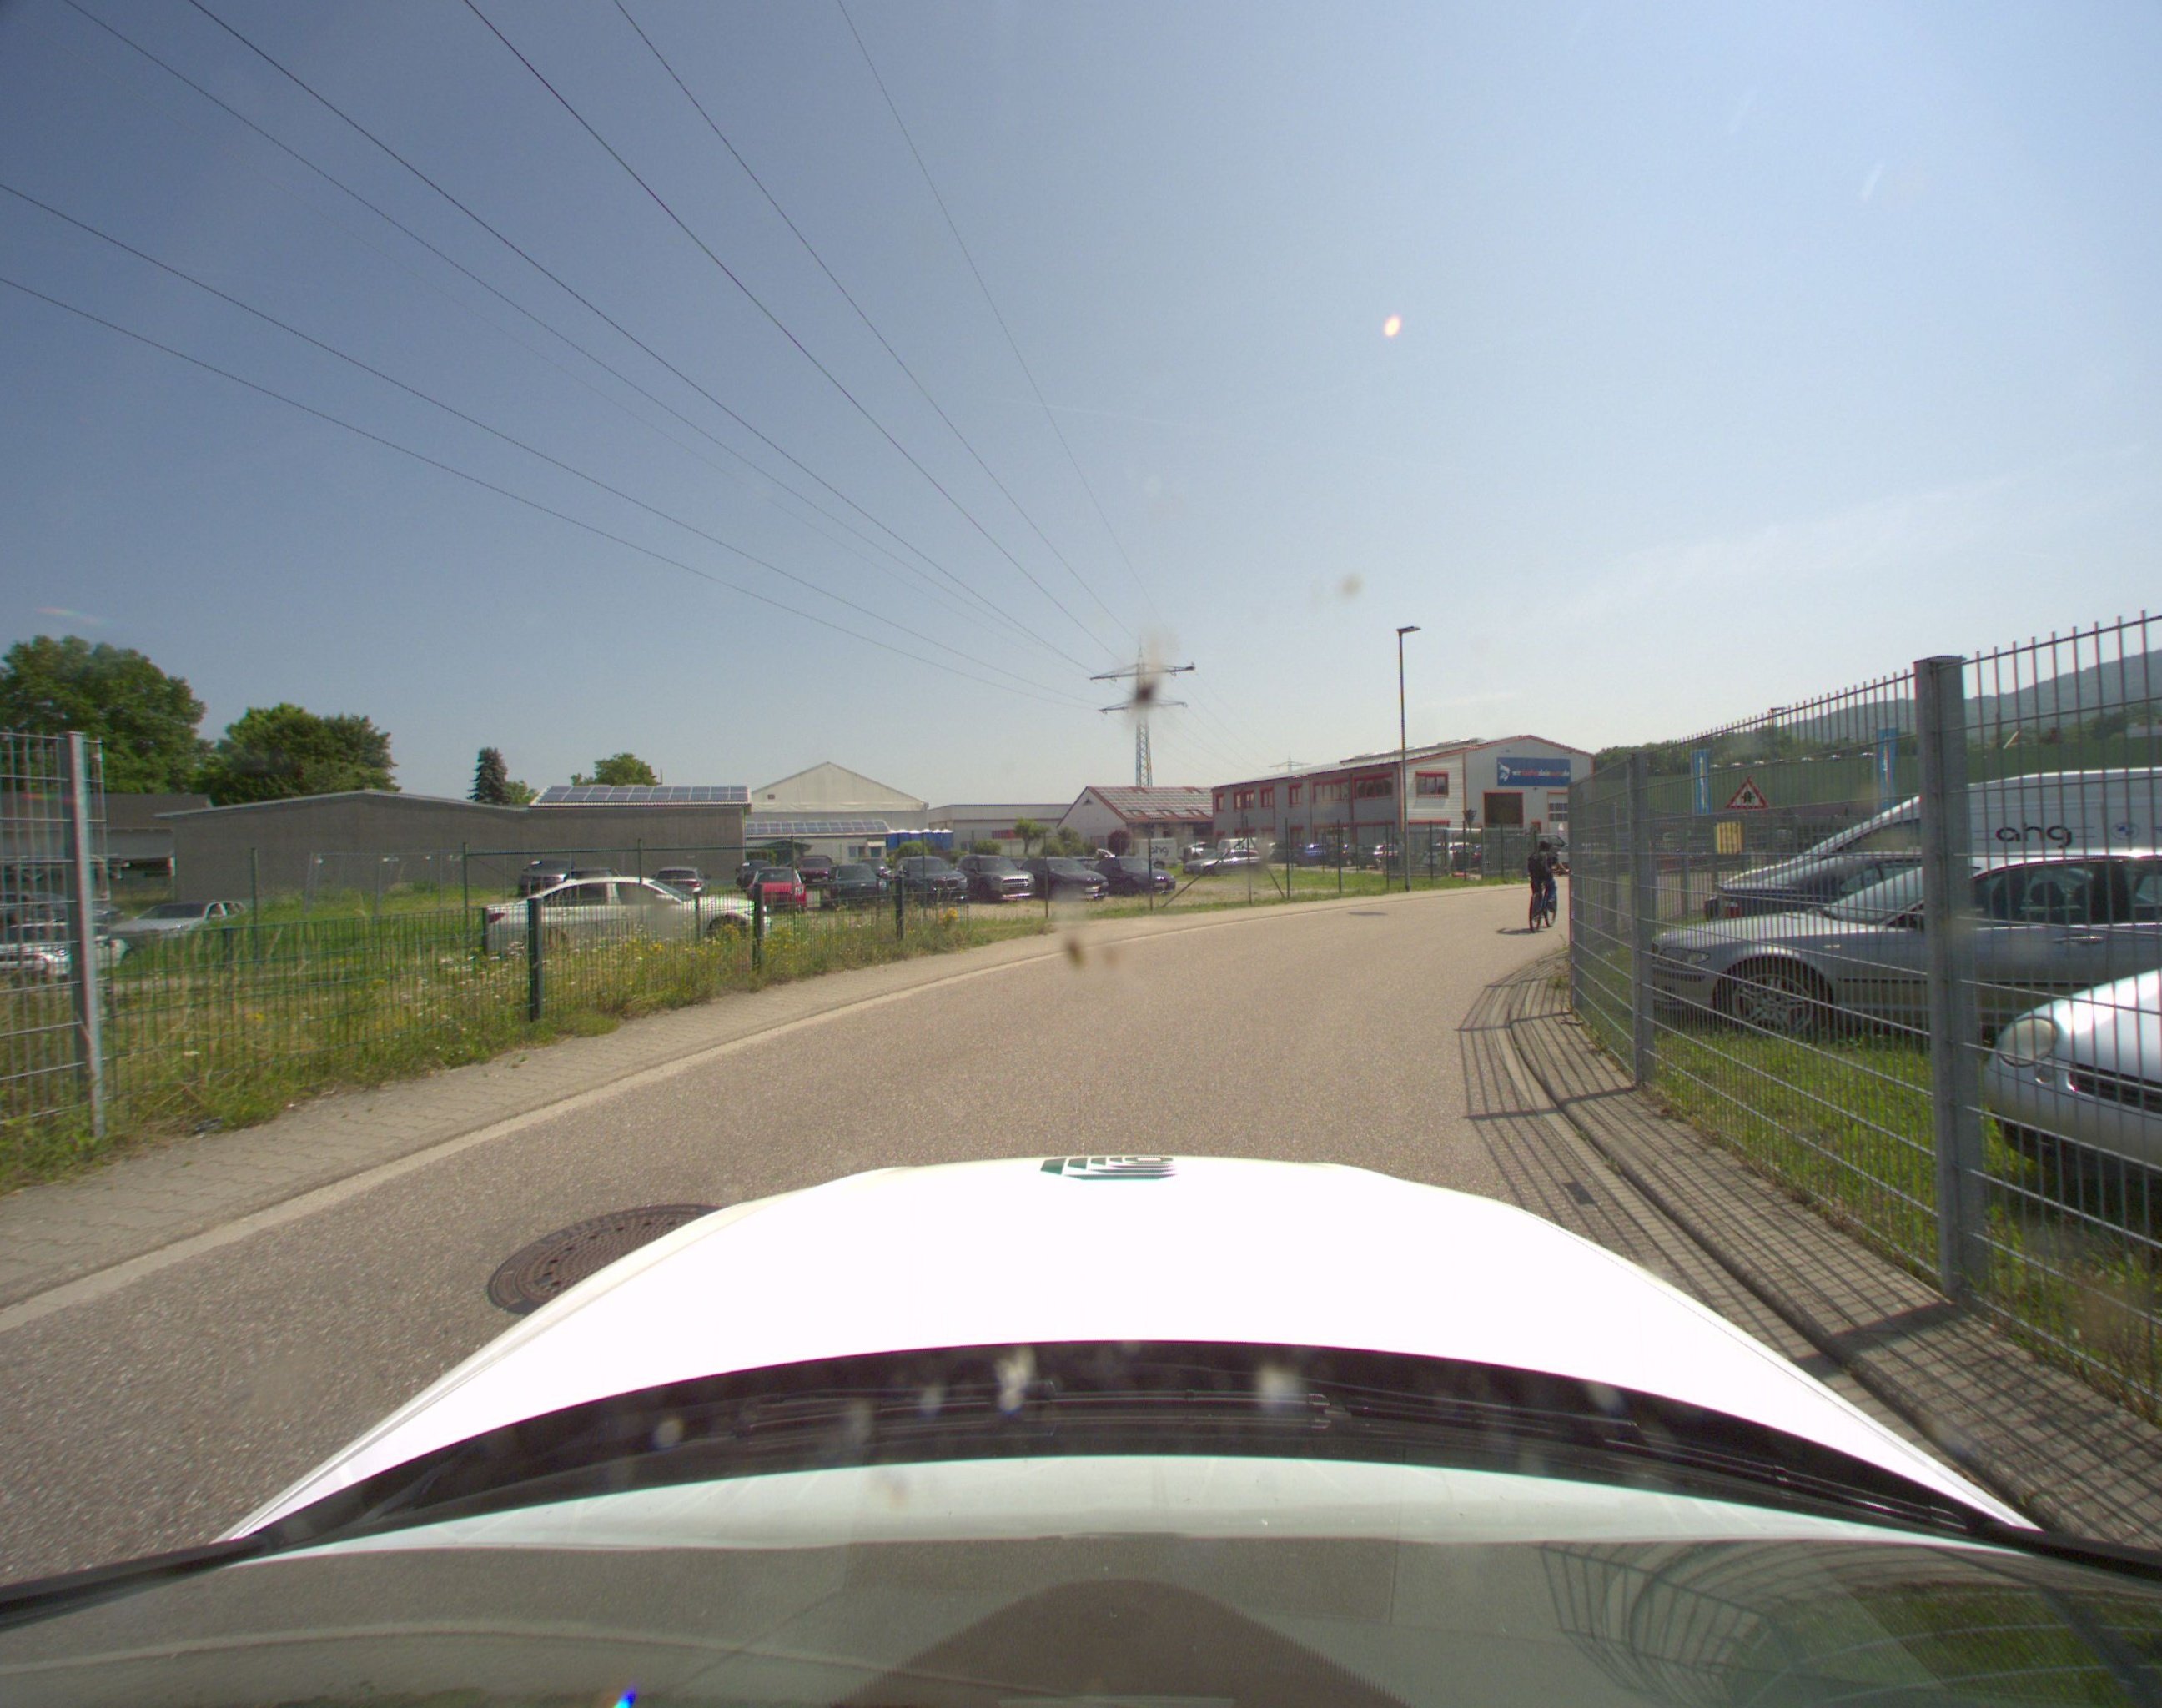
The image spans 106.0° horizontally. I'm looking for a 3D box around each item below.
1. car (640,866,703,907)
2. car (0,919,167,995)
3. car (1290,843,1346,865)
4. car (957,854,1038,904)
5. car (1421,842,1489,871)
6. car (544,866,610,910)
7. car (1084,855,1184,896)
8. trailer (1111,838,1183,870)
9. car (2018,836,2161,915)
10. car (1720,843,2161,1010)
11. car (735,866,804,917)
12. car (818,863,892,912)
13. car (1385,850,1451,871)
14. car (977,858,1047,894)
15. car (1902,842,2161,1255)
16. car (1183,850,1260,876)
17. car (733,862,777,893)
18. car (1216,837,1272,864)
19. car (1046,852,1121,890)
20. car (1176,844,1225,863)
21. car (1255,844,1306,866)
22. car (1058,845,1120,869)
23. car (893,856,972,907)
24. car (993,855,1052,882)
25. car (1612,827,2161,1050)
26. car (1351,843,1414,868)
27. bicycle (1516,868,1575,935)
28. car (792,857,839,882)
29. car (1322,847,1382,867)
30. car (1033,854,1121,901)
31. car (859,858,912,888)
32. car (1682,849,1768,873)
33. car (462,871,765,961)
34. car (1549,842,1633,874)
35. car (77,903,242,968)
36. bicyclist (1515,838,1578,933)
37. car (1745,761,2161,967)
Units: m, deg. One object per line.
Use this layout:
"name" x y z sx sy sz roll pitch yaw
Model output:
"car" -14.559 1.122 29.080 1.872 1.298 3.412 -1 0 -26
"car" -23.084 2.301 18.541 1.660 1.314 3.366 -1 0 -22
"car" 16.146 0.008 55.462 3.609 1.416 1.496 -2 0 -25
"car" -3.060 0.841 29.325 1.871 1.644 3.605 -1 0 -24
"car" 21.221 0.140 46.216 3.609 1.539 1.496 -2 0 -25
"car" -17.871 1.168 28.983 1.875 1.414 3.407 -1 0 -31
"car" 1.966 0.783 31.832 2.004 1.435 4.629 -1 0 -24
"trailer" 4.307 0.015 53.440 4.446 1.945 1.709 -2 0 -9
"car" 18.581 0.329 13.478 3.880 1.277 1.918 -1 0 45
"car" 8.800 0.608 7.828 4.153 1.357 1.627 -1 0 38
"car" -9.979 1.127 25.931 1.871 1.453 3.414 -1 0 -24
"car" -7.570 1.044 27.033 1.871 1.433 3.620 -1 0 -24
"car" 19.806 0.376 47.875 3.609 1.151 1.496 -2 0 -25
"car" -3.075 0.920 35.588 2.001 1.420 3.972 -2 0 -21
"car" 5.475 0.647 2.966 3.456 1.422 1.634 -1 0 -4
"car" 7.565 0.470 43.768 4.148 1.261 1.225 -2 0 -25
"car" -16.256 1.115 40.461 1.871 1.433 4.568 -1 0 -24
"car" 12.656 -0.305 63.346 3.912 1.978 1.809 -2 0 -25
"car" 0.041 0.700 36.621 2.002 1.435 4.393 -1 2 -20
"car" 10.278 -0.073 70.060 3.912 1.516 1.496 -2 0 -25
"car" 14.977 0.062 61.153 3.609 1.544 1.496 -2 0 -25
"car" 0.556 0.191 58.077 4.003 1.598 1.863 -1 0 -22
"car" -5.142 0.893 27.867 1.871 1.561 3.668 -1 0 -24
"car" -3.467 0.841 47.625 2.004 1.435 4.629 -1 0 -24
"car" 6.619 0.529 6.123 4.302 1.395 1.627 -1 0 30
"car" 18.572 0.093 50.190 3.609 1.381 1.496 -2 0 -25
"bicycle" 8.339 0.809 14.571 0.678 1.051 1.913 0 1 37
"car" -13.712 0.792 41.902 1.871 1.175 4.568 -1 0 -24
"car" 17.676 0.184 53.111 3.609 1.151 1.496 -2 0 -25
"car" -0.227 0.809 29.898 1.871 1.554 3.741 -1 0 -24
"car" -10.550 0.984 43.727 2.004 1.435 4.629 -1 0 -24
"car" 30.329 0.315 38.331 4.119 1.007 1.476 -2 0 -25
"car" -8.309 1.037 15.001 4.567 1.307 1.854 -1 0 -23
"car" 24.709 0.190 39.478 3.609 1.404 1.737 -2 0 -25
"car" -29.806 2.571 26.540 2.002 1.618 3.969 -2 0 -23
"bicyclist" 8.325 0.537 14.555 0.834 1.618 1.046 0 0 39
"car" 11.466 0.098 9.731 5.276 2.149 1.918 -1 0 45
